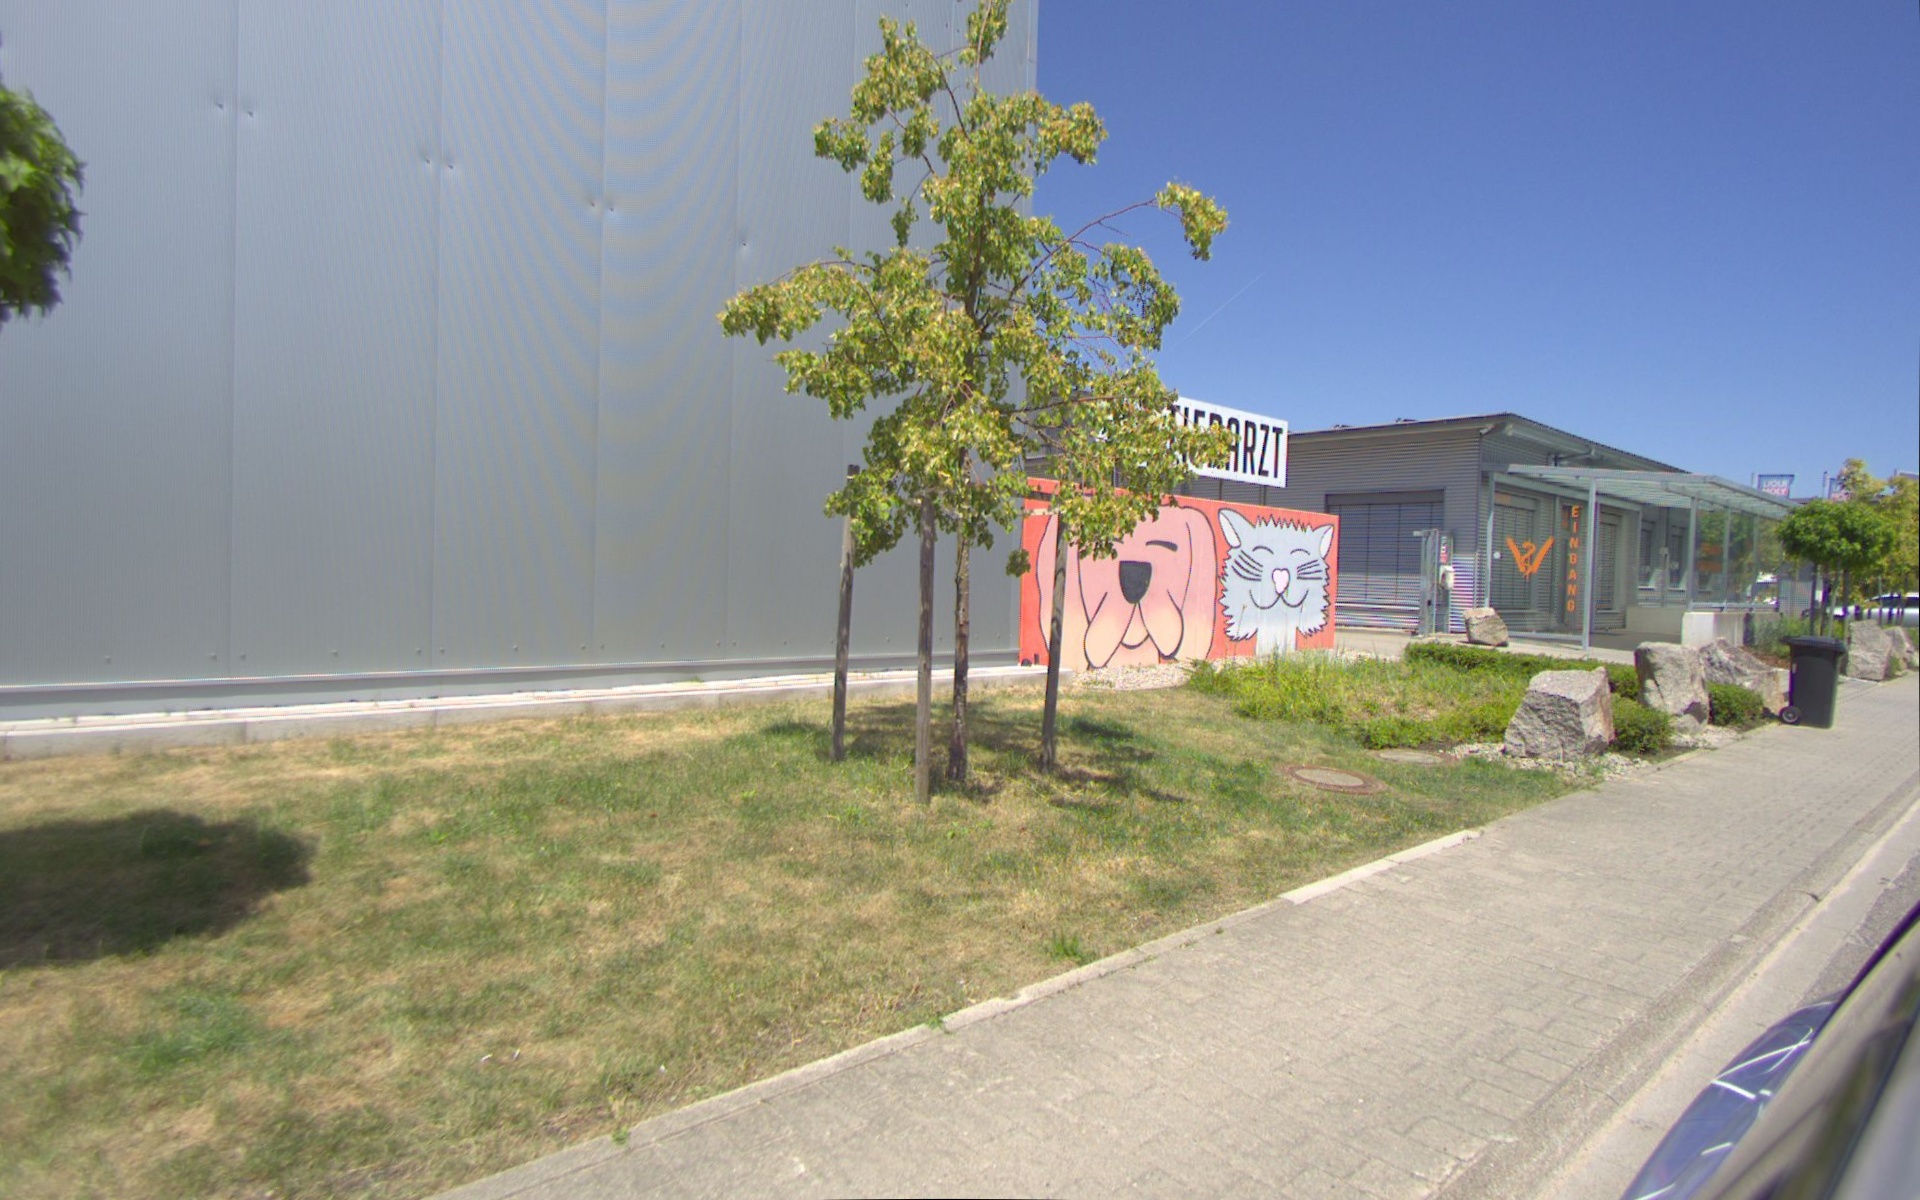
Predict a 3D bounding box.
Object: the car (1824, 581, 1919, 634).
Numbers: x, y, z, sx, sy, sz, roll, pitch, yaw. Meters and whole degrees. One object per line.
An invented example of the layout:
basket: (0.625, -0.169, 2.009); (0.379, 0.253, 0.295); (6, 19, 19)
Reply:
car: (30.471, 0.251, 32.234); (1.881, 1.560, 4.286); (0, 3, -43)

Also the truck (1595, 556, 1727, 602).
truck: (40.841, -1.260, 59.134); (2.142, 2.399, 5.949); (0, 3, -39)

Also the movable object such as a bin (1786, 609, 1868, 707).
movable object such as a bin: (9.136, 0.591, 10.665); (0.530, 0.958, 0.559); (-1, 3, -42)
